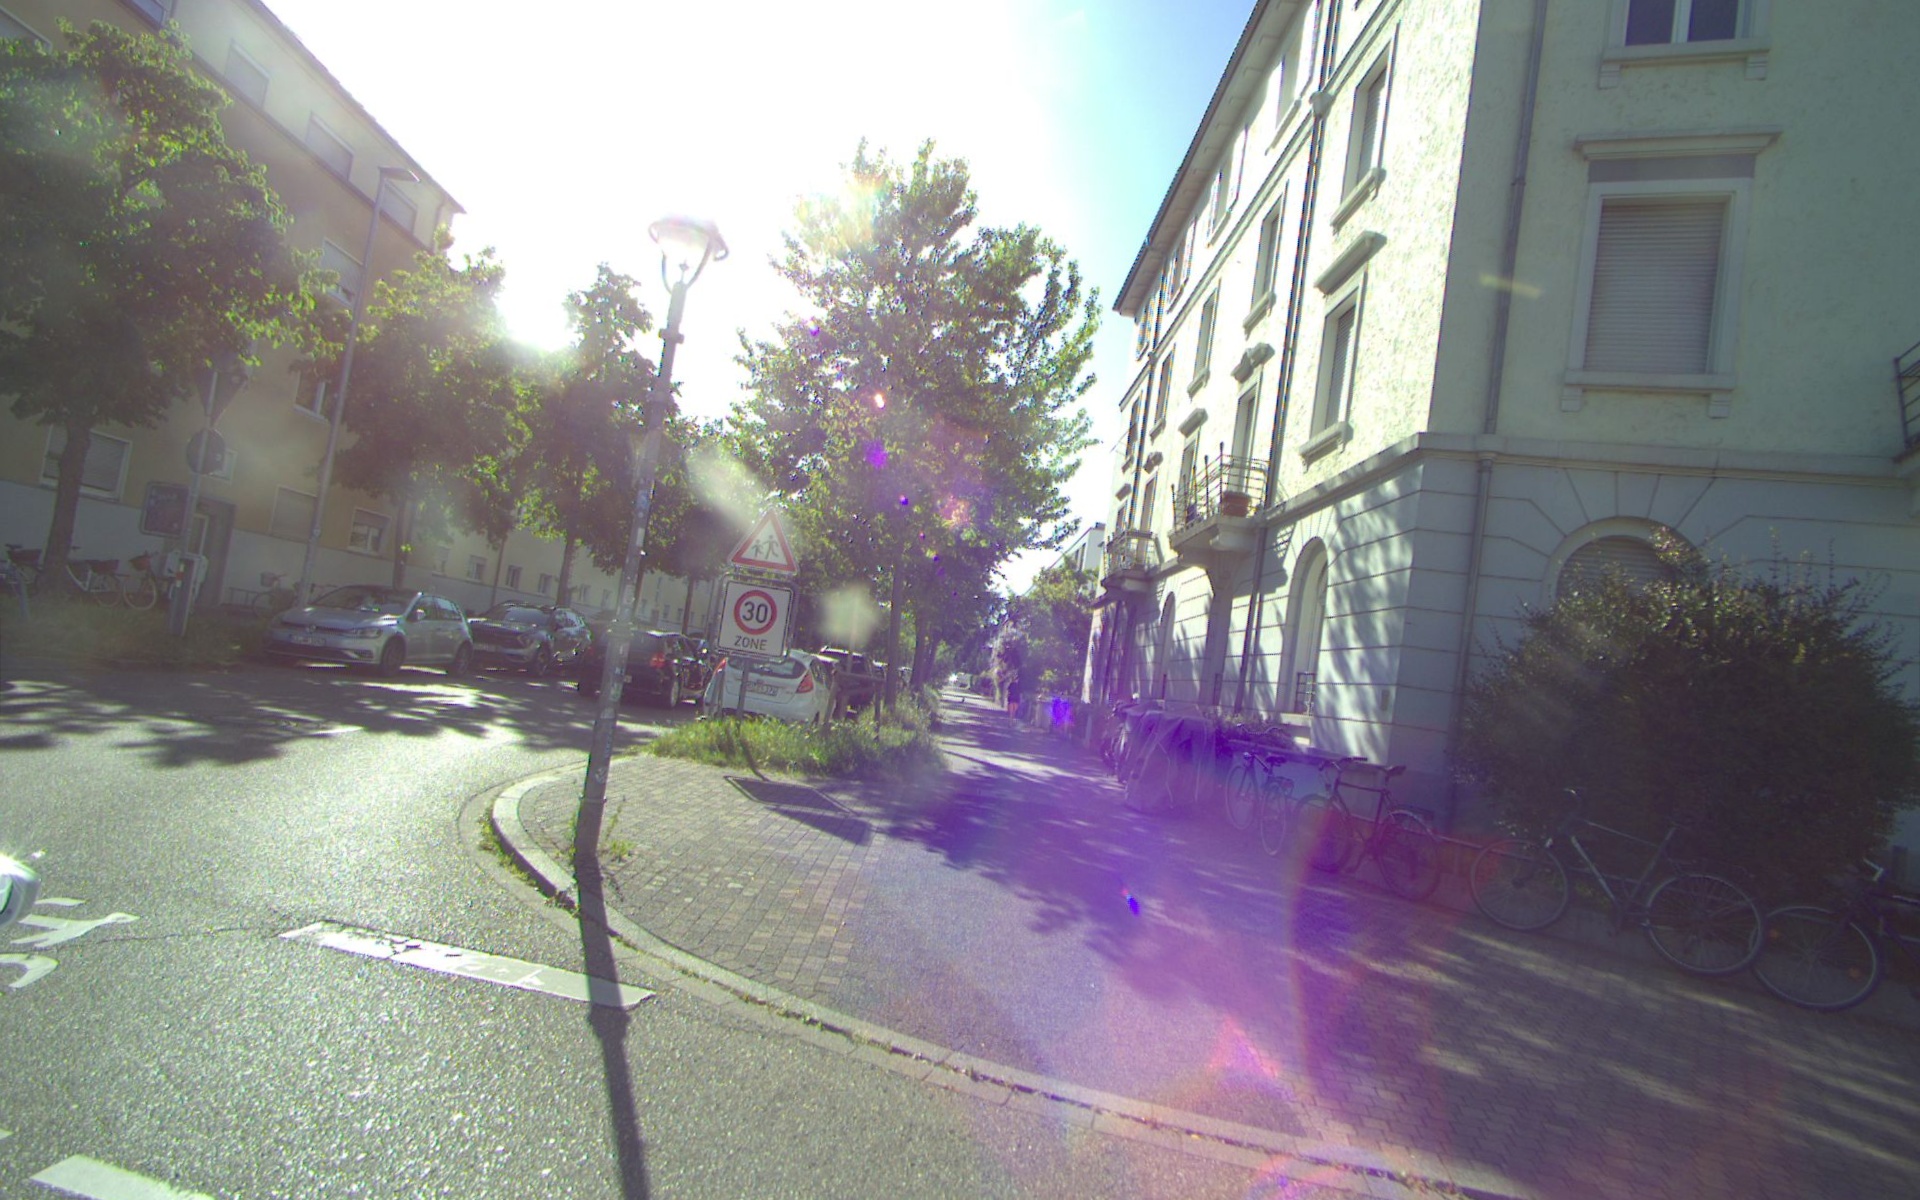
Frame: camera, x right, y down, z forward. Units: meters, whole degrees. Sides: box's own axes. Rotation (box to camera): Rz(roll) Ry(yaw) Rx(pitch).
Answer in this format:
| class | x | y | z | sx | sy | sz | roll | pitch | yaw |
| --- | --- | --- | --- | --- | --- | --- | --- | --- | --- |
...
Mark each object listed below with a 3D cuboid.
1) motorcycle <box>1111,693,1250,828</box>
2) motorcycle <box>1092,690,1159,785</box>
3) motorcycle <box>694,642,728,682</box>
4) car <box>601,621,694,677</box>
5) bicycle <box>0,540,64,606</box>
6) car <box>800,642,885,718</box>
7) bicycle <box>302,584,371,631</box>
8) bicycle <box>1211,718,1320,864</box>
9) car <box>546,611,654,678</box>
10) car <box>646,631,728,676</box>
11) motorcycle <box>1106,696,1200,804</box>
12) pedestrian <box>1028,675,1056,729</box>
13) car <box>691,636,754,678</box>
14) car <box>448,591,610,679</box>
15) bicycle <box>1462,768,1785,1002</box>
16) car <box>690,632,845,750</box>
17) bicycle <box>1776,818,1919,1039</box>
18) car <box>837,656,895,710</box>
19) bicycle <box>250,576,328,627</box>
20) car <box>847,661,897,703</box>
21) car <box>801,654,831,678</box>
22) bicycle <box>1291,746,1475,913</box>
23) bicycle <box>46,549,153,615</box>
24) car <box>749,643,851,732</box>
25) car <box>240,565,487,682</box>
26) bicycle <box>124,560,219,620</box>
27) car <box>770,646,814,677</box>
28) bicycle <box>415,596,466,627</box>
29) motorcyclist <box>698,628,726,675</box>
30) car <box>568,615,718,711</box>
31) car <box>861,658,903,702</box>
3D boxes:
| class | x | y | z | sx | sy | sz | roll | pitch | yaw |
| --- | --- | --- | --- | --- | --- | --- | --- | --- | --- |
| motorcycle | 2.655 | 1.911 | 12.375 | 0.957 | 1.342 | 1.854 | 9 | -4 | -6 |
| motorcycle | 2.700 | 2.218 | 16.604 | 0.531 | 1.375 | 2.092 | 9 | -4 | 0 |
| motorcycle | -7.993 | 2.012 | 32.338 | 0.544 | 1.187 | 1.635 | 9 | -4 | -1 |
| car | -10.029 | 1.643 | 32.582 | 1.640 | 1.474 | 3.939 | 9 | -4 | 0 |
| bicycle | -16.005 | -0.481 | 16.795 | 0.428 | 1.011 | 1.684 | 8 | -4 | 0 |
| car | -3.195 | 2.231 | 28.109 | 1.754 | 1.716 | 4.304 | 8 | -4 | -1 |
| bicycle | -16.249 | 0.212 | 26.277 | 0.527 | 1.037 | 1.751 | 8 | -4 | 1 |
| bicycle | 3.054 | 1.877 | 10.171 | 0.321 | 1.250 | 1.504 | 8 | -4 | -7 |
| car | -9.813 | 1.263 | 27.692 | 1.640 | 1.501 | 3.261 | 9 | -4 | 0 |
| car | -10.224 | 2.080 | 38.049 | 1.719 | 1.383 | 4.682 | 8 | -4 | 0 |
| motorcycle | 2.700 | 2.080 | 14.243 | 0.647 | 1.293 | 1.801 | 7 | -4 | -7 |
| pedestrian | 2.871 | 3.569 | 35.266 | 0.613 | 1.793 | 0.800 | 10 | -3 | 0 |
| car | -10.327 | 2.535 | 43.978 | 1.595 | 1.531 | 4.276 | 6 | -4 | 0 |
| car | -9.708 | 0.878 | 23.117 | 1.666 | 1.581 | 4.741 | 9 | -4 | -2 |
| bicycle | 4.610 | 1.924 | 7.100 | 0.442 | 1.160 | 1.758 | 11 | -4 | -43 |
| car | -2.937 | 1.425 | 16.184 | 1.628 | 1.416 | 4.141 | 9 | -4 | -1 |
| bicycle | 5.953 | 2.045 | 5.974 | 1.614 | 1.161 | 0.365 | 6 | -4 | 38 |
| car | -3.427 | 3.055 | 37.350 | 1.660 | 1.603 | 4.541 | 11 | -4 | -2 |
| bicycle | -16.208 | 0.065 | 24.346 | 0.532 | 1.037 | 1.751 | 8 | -4 | 1 |
| car | -3.603 | 3.411 | 41.937 | 1.605 | 1.439 | 4.375 | 8 | -4 | 0 |
| car | -10.709 | 4.923 | 75.009 | 1.484 | 1.565 | 4.786 | 6 | -4 | -1 |
| bicycle | 3.578 | 1.916 | 8.640 | 0.347 | 1.115 | 1.566 | 9 | -5 | -22 |
| bicycle | -15.938 | -0.311 | 18.675 | 0.504 | 1.011 | 1.547 | 8 | -4 | 0 |
| car | -3.222 | 1.782 | 21.011 | 1.588 | 1.424 | 4.355 | 9 | -4 | -4 |
| car | -9.641 | 0.471 | 16.701 | 1.734 | 1.457 | 3.998 | 9 | -4 | -4 |
| bicycle | -15.906 | -0.180 | 20.341 | 0.507 | 1.011 | 1.548 | 8 | -4 | 3 |
| car | -10.471 | 3.889 | 63.075 | 1.821 | 1.698 | 4.984 | 6 | -4 | -1 |
| bicycle | -20.341 | 0.457 | 39.416 | 1.608 | 0.940 | 0.481 | 9 | -3 | -3 |
| motorcyclist | -7.940 | 1.647 | 32.224 | 0.544 | 1.417 | 0.520 | 9 | -3 | -1 |
| car | -5.805 | 1.195 | 18.840 | 1.625 | 1.411 | 3.416 | 8 | -4 | -1 |
| car | -3.577 | 3.680 | 46.581 | 1.625 | 1.672 | 3.851 | 9 | -4 | -3 |
